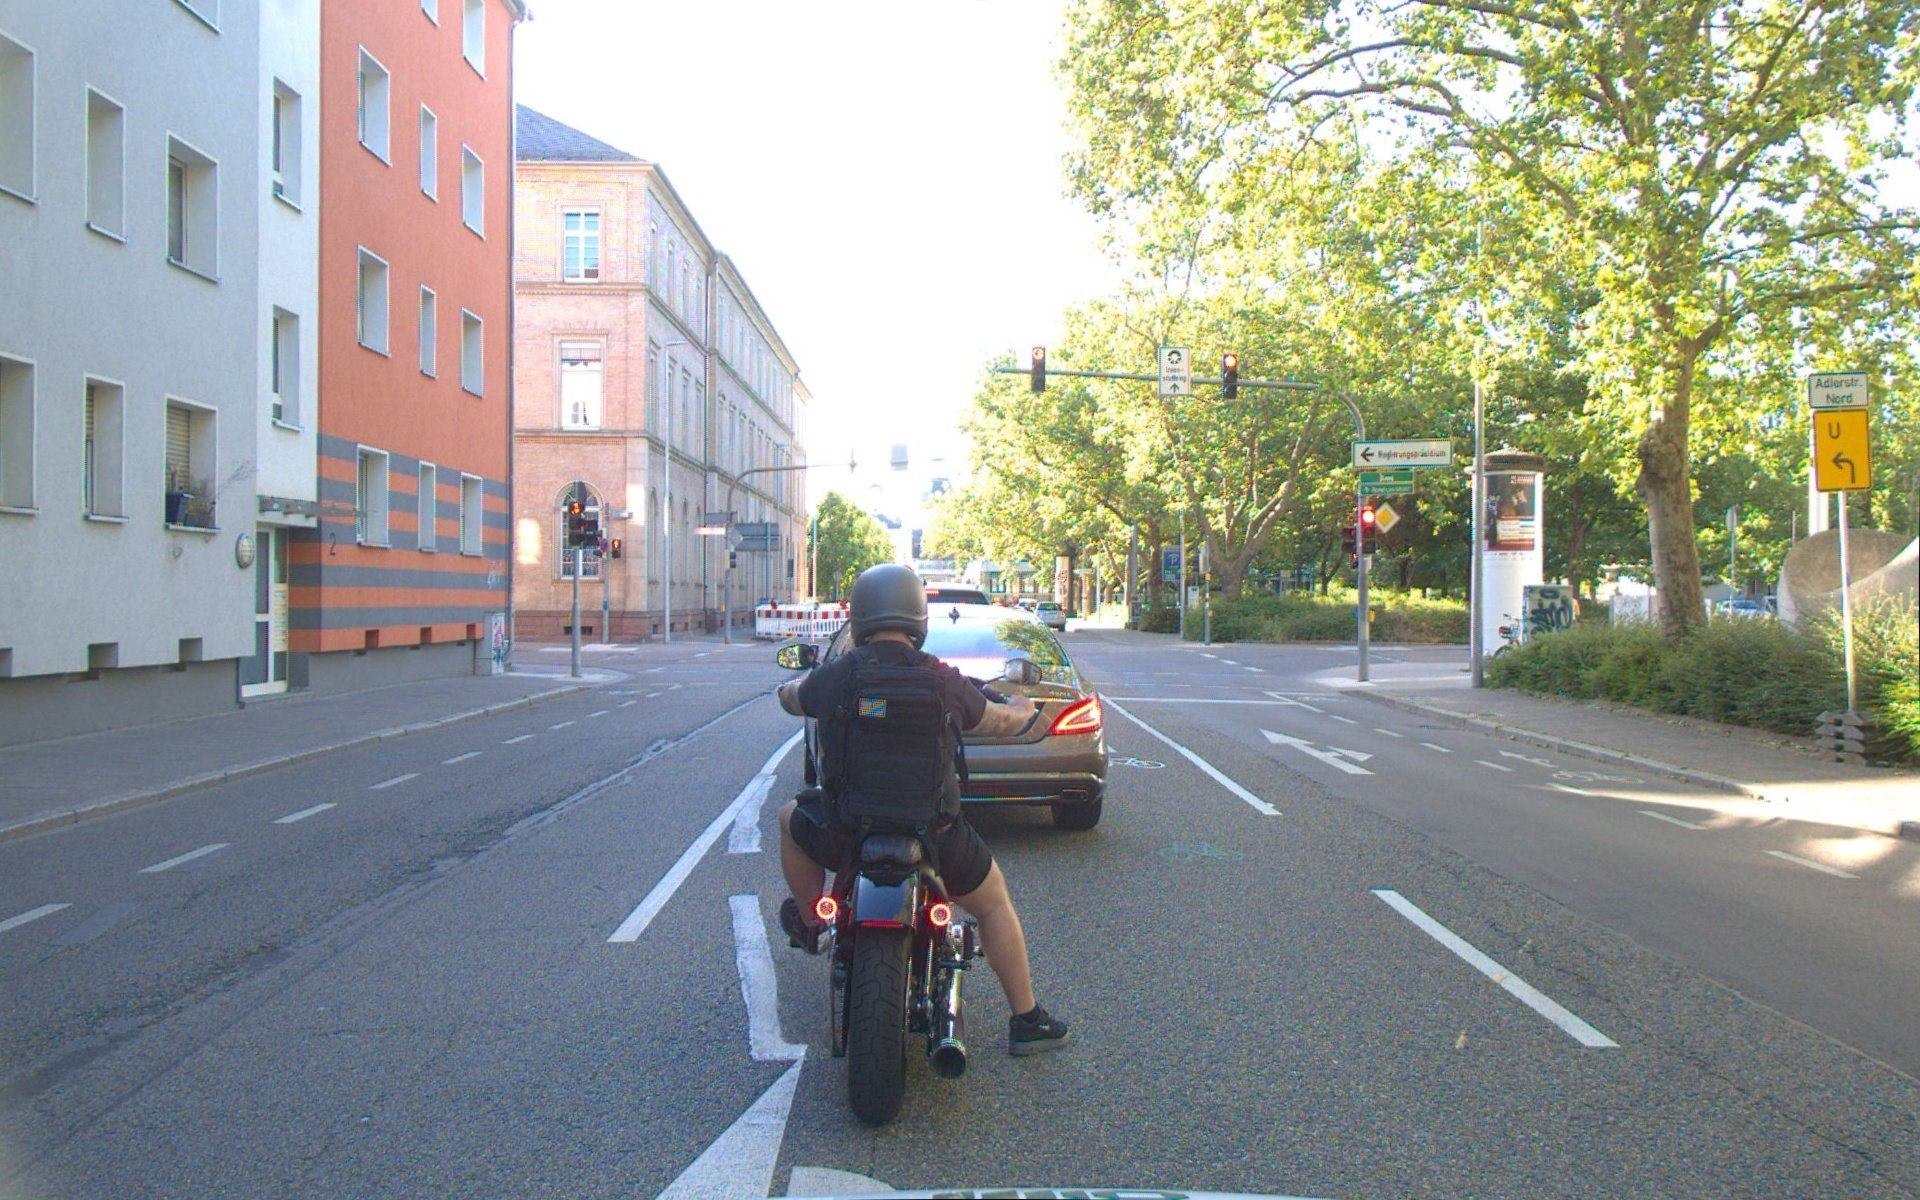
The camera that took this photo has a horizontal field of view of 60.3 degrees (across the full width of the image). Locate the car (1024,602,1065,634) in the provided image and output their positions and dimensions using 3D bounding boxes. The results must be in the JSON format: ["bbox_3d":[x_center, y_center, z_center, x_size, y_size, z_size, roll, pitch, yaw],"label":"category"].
[{"bbox_3d":[4.171,0.876,82.078,1.784,1.506,3.908,-1,0,0],"label":"car"}]

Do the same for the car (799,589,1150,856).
[{"bbox_3d":[-0.113,0.679,11.595,1.909,1.498,4.355,0,0,-7],"label":"car"}]

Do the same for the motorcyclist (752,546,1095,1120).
[{"bbox_3d":[-0.113,0.659,5.401,0.969,1.625,1.403,0,0,-1],"label":"motorcyclist"}]

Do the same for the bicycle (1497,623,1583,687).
[{"bbox_3d":[9.743,0.920,27.788,1.324,1.041,0.363,0,0,0],"label":"bicycle"}]

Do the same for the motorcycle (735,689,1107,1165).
[{"bbox_3d":[-0.118,0.922,5.555,0.969,1.097,2.451,0,0,-1],"label":"motorcycle"}]

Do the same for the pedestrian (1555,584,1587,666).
[{"bbox_3d":[14.115,0.571,38.218,0.540,1.881,0.593,0,0,0],"label":"pedestrian"}]

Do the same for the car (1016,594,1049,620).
[{"bbox_3d":[4.334,0.404,99.406,1.817,1.512,3.908,1,0,1],"label":"car"}]

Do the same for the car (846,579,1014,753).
[{"bbox_3d":[-0.336,0.613,17.758,1.580,1.636,4.327,0,0,-2],"label":"car"}]
